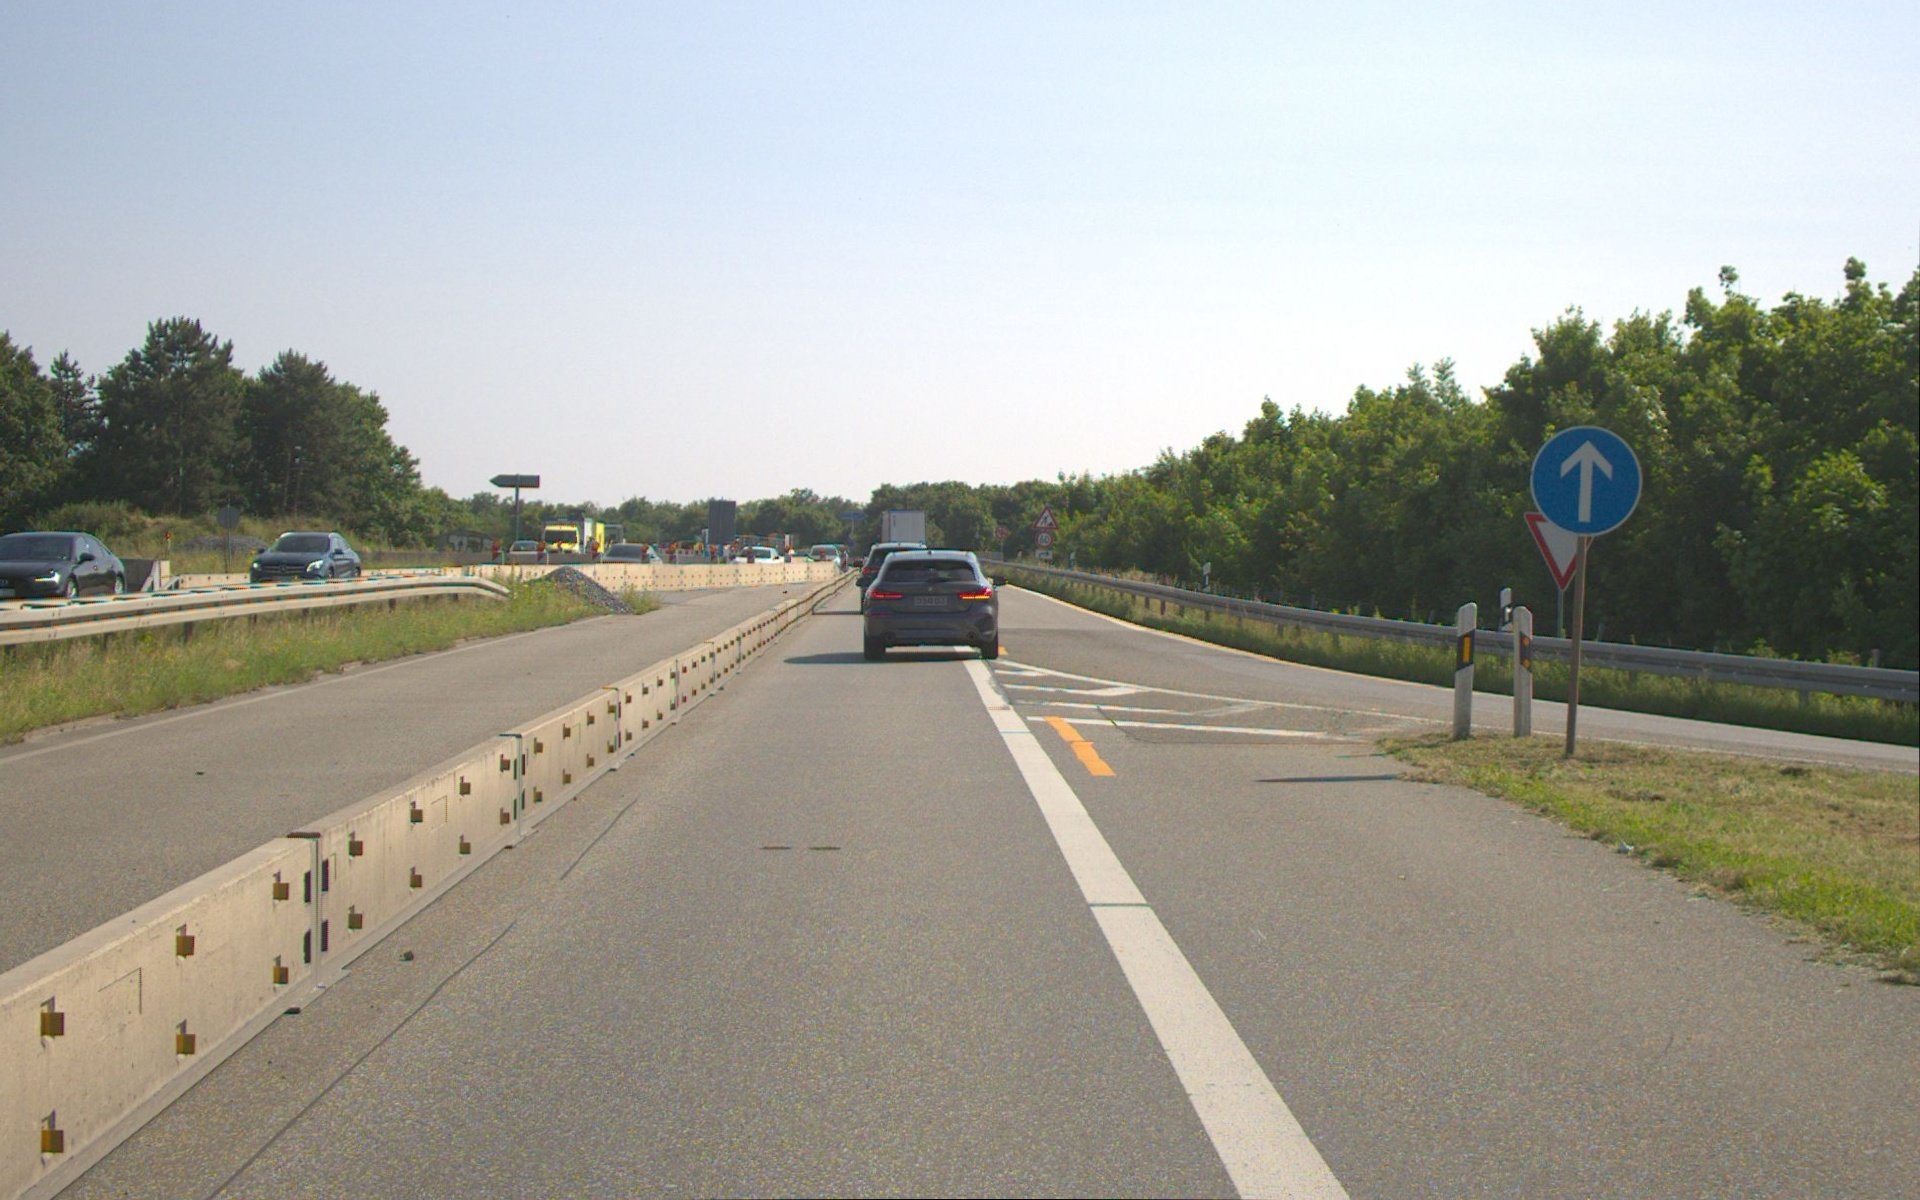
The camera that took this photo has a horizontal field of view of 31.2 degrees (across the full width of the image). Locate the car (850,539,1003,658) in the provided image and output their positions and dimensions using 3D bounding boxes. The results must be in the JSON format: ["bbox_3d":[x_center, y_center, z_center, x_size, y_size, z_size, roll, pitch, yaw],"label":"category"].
[{"bbox_3d":[-0.502,-0.051,46.446,1.920,1.488,4.001,1,1,-2],"label":"car"}]

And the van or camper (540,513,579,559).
[{"bbox_3d":[-21.650,-3.455,185.906,1.993,2.369,6.203,-2,1,-7],"label":"van or camper"}]

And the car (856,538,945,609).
[{"bbox_3d":[-1.349,-0.628,78.834,1.993,1.561,4.000,0,1,0],"label":"car"}]

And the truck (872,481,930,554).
[{"bbox_3d":[-4.132,-5.700,238.766,3.760,4.894,14.138,1,1,-2],"label":"truck"}]

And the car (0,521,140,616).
[{"bbox_3d":[-15.229,-0.548,57.299,1.816,1.483,5.023,1,1,1],"label":"car"}]

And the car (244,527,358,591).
[{"bbox_3d":[-15.347,-0.983,80.266,1.797,1.429,4.592,1,1,0],"label":"car"}]
